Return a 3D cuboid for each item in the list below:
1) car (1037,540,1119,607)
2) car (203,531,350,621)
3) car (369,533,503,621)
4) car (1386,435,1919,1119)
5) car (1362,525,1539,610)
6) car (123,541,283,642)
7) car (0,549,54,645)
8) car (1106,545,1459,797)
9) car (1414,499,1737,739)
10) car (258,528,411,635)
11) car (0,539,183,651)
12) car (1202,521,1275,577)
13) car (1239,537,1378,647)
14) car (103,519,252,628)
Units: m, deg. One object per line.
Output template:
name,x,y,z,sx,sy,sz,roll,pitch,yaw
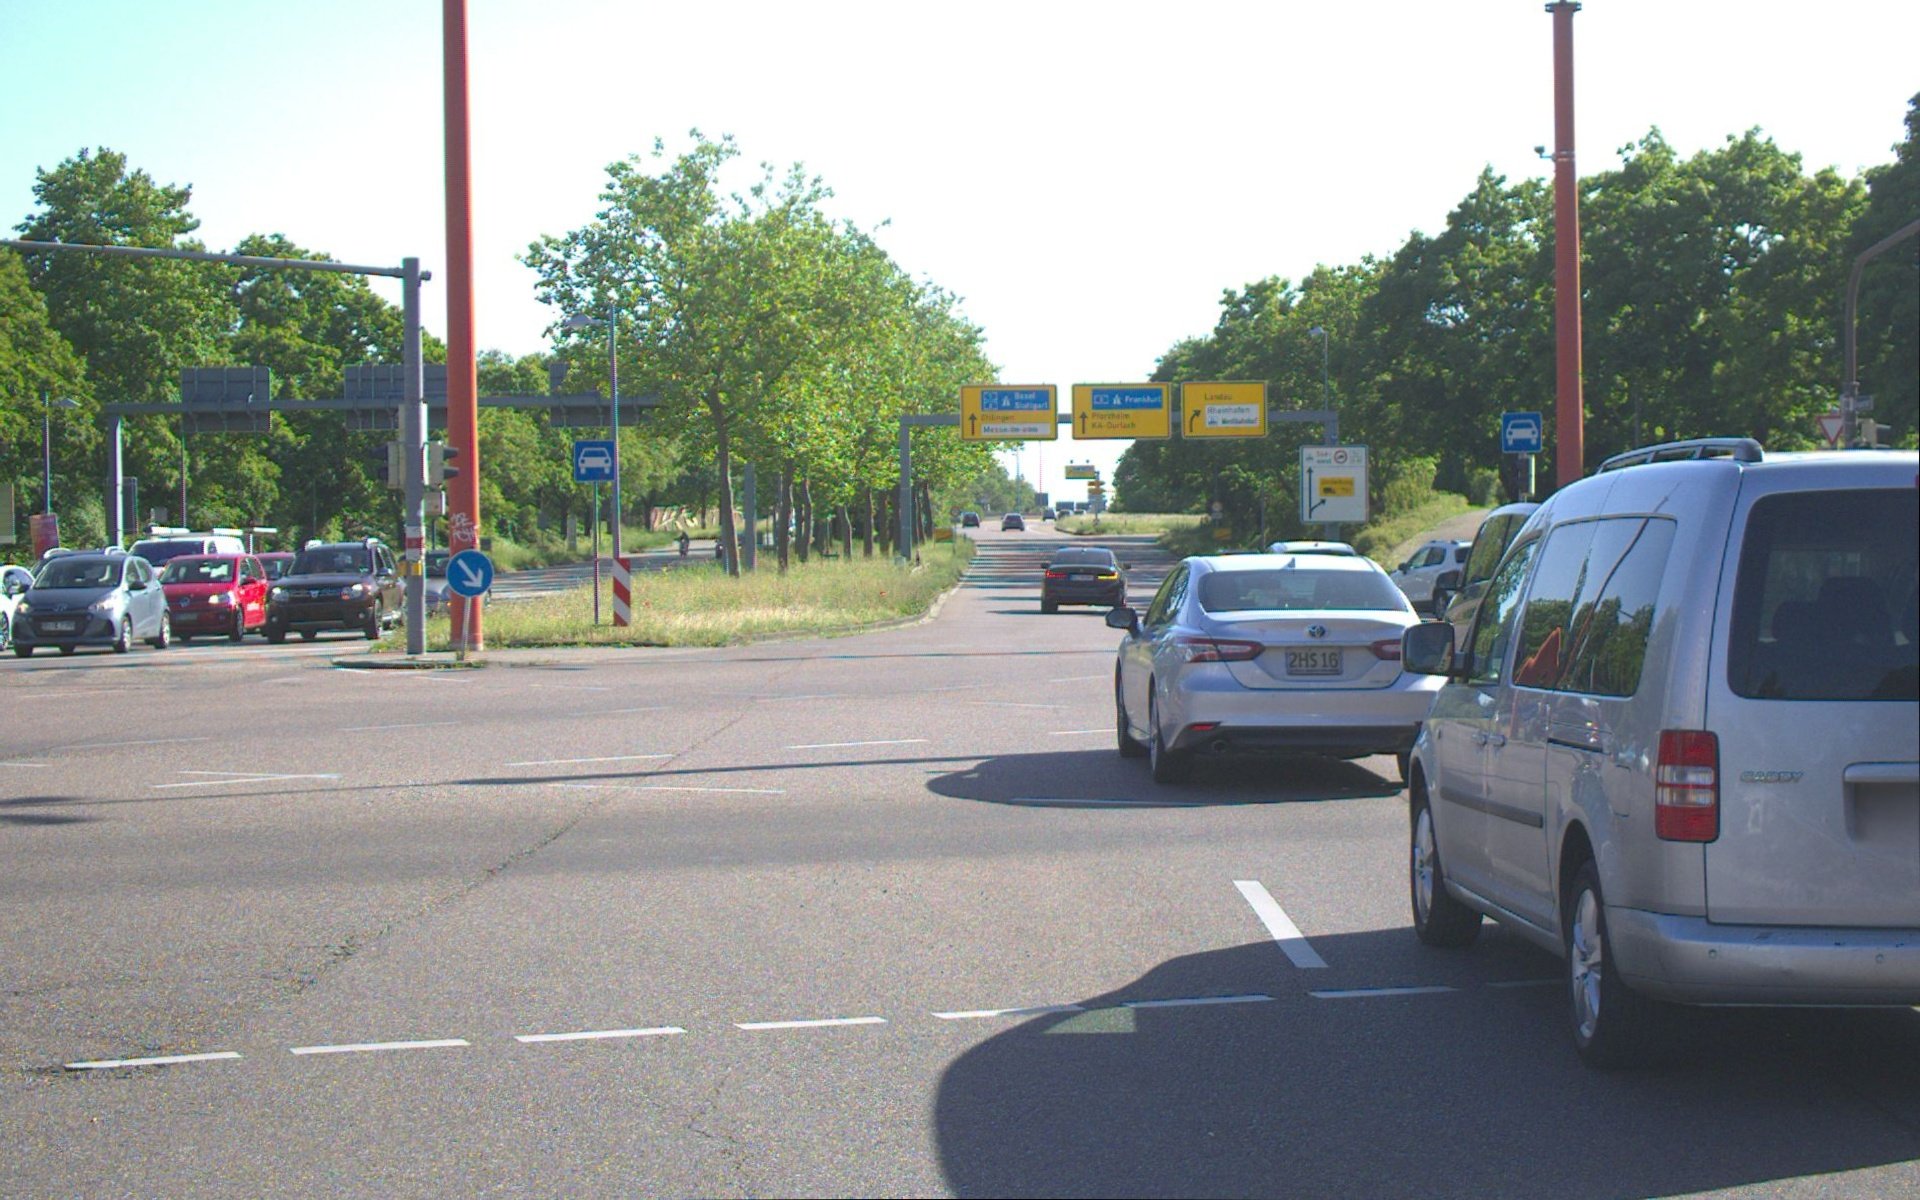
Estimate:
car,2.607,-0.598,76.949,1.764,1.436,4.295,1,1,1
car,-12.806,-0.459,64.618,1.901,1.624,4.000,0,1,1
car,-9.690,-0.449,63.838,1.885,1.538,4.000,-2,1,-1
car,2.666,0.451,11.445,1.804,1.815,4.587,0,1,-1
car,9.759,-0.665,68.663,1.763,1.629,4.300,-1,1,-18
car,-12.867,-0.163,58.621,1.875,1.547,4.000,-4,1,-2
car,-16.533,-0.055,57.274,1.901,1.549,4.000,-2,1,-2
car,2.036,0.402,22.973,1.804,1.488,4.682,1,1,-1
car,5.138,0.104,29.366,1.804,1.845,5.103,-1,1,0
car,-10.213,-0.332,56.359,1.793,1.620,4.144,-2,1,-1
car,-13.219,-0.104,52.283,1.874,1.545,4.028,-2,1,-1
car,8.405,-1.540,104.141,1.764,1.630,4.298,1,1,-1
car,5.341,-0.139,53.084,1.716,1.602,3.847,1,1,0
car,-16.068,-0.572,70.822,1.961,2.147,5.082,-1,1,-1
